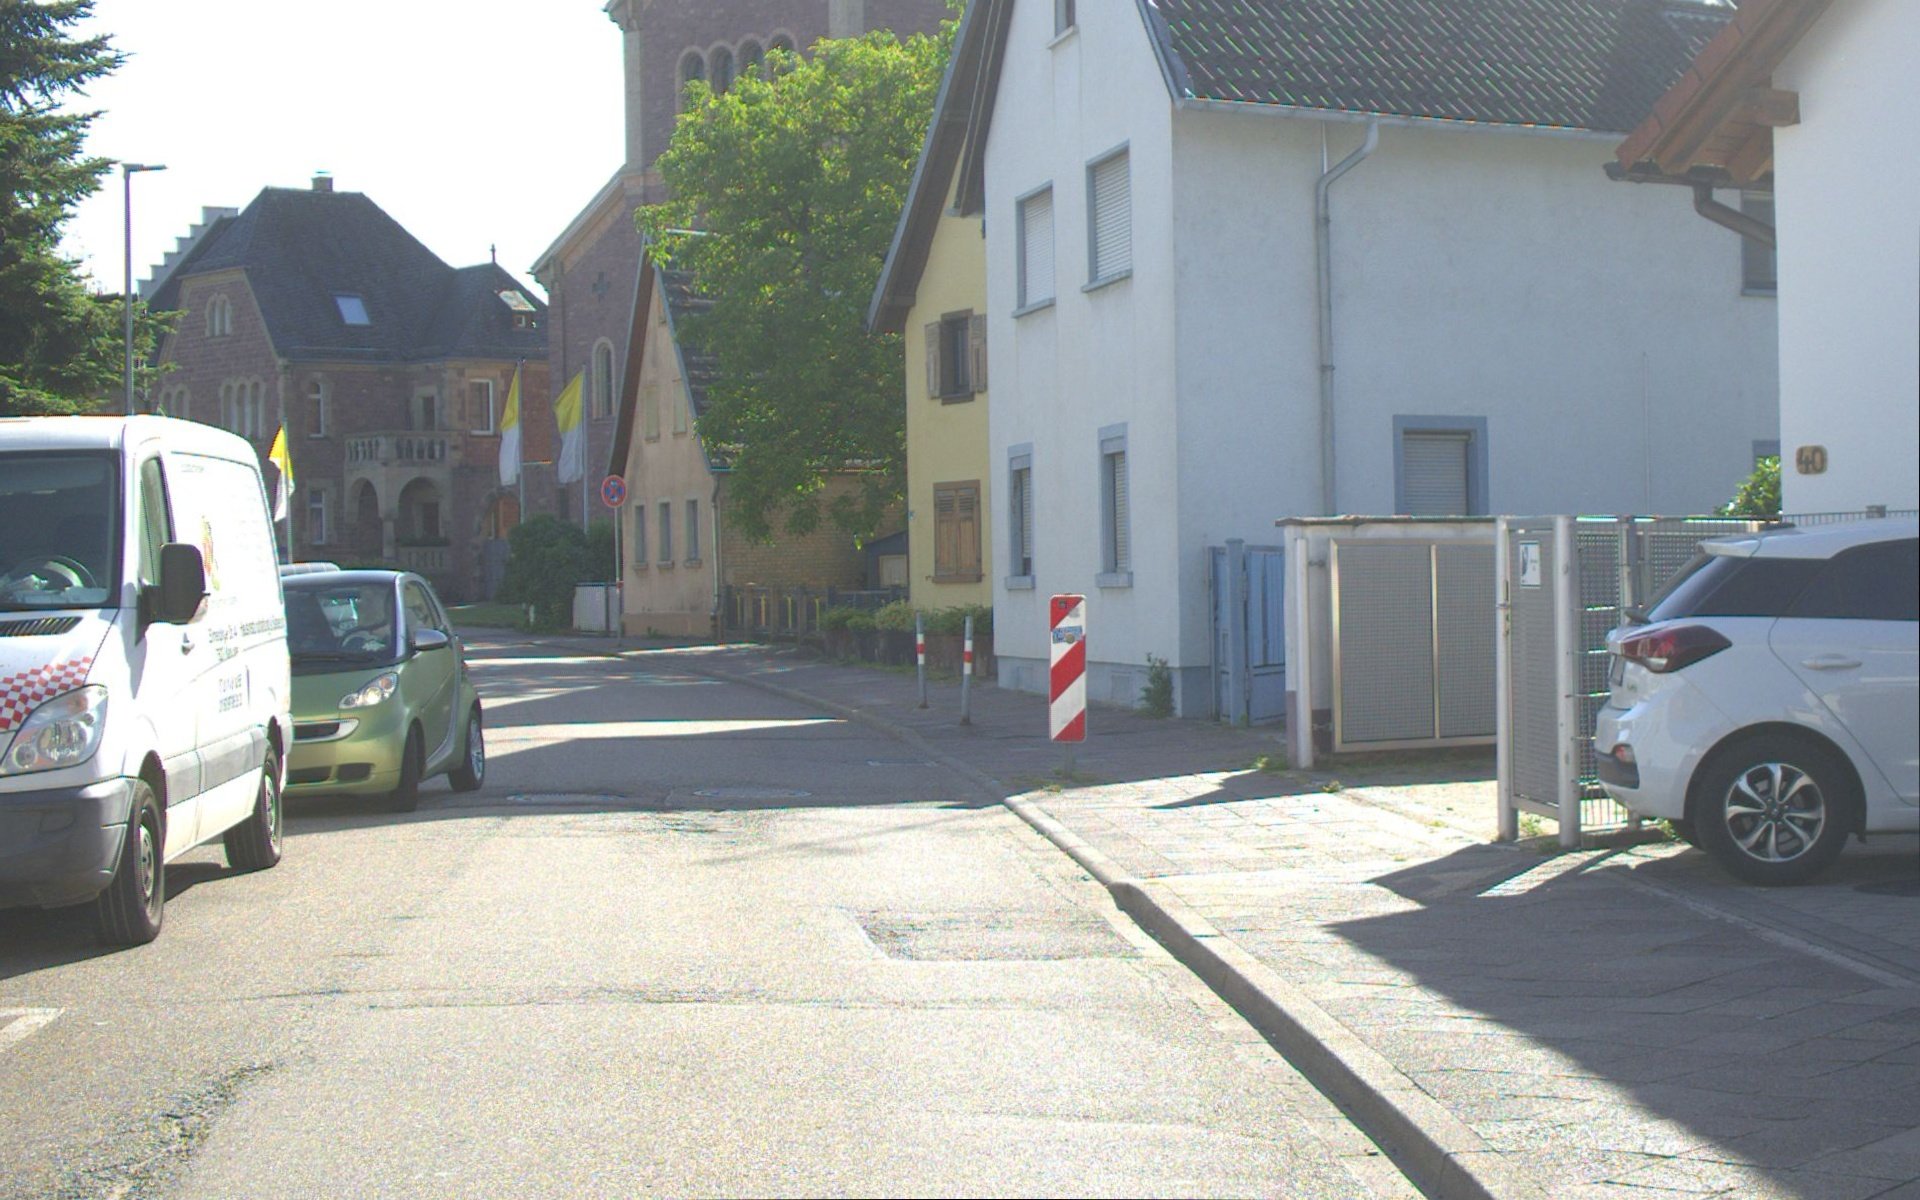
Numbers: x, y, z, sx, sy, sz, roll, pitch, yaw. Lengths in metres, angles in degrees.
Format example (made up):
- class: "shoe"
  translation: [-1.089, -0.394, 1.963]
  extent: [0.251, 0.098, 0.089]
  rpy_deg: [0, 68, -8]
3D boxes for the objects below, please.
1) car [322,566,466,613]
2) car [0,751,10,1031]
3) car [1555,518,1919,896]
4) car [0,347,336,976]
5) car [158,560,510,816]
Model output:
- class: "car"
  translation: [-17.950, -0.341, 109.178]
  extent: [4.236, 1.396, 1.717]
  rpy_deg: [-2, 1, -43]
- class: "car"
  translation: [-3.865, 0.687, 9.016]
  extent: [1.711, 1.499, 4.236]
  rpy_deg: [-2, 1, -3]
- class: "car"
  translation: [4.590, 0.386, 14.591]
  extent: [3.913, 1.487, 1.847]
  rpy_deg: [-2, 0, 6]
- class: "car"
  translation: [-4.494, 0.242, 16.123]
  extent: [2.197, 2.382, 6.065]
  rpy_deg: [-3, 1, -3]
- class: "car"
  translation: [-4.042, 0.526, 22.608]
  extent: [1.574, 1.541, 2.965]
  rpy_deg: [-1, 1, 4]
